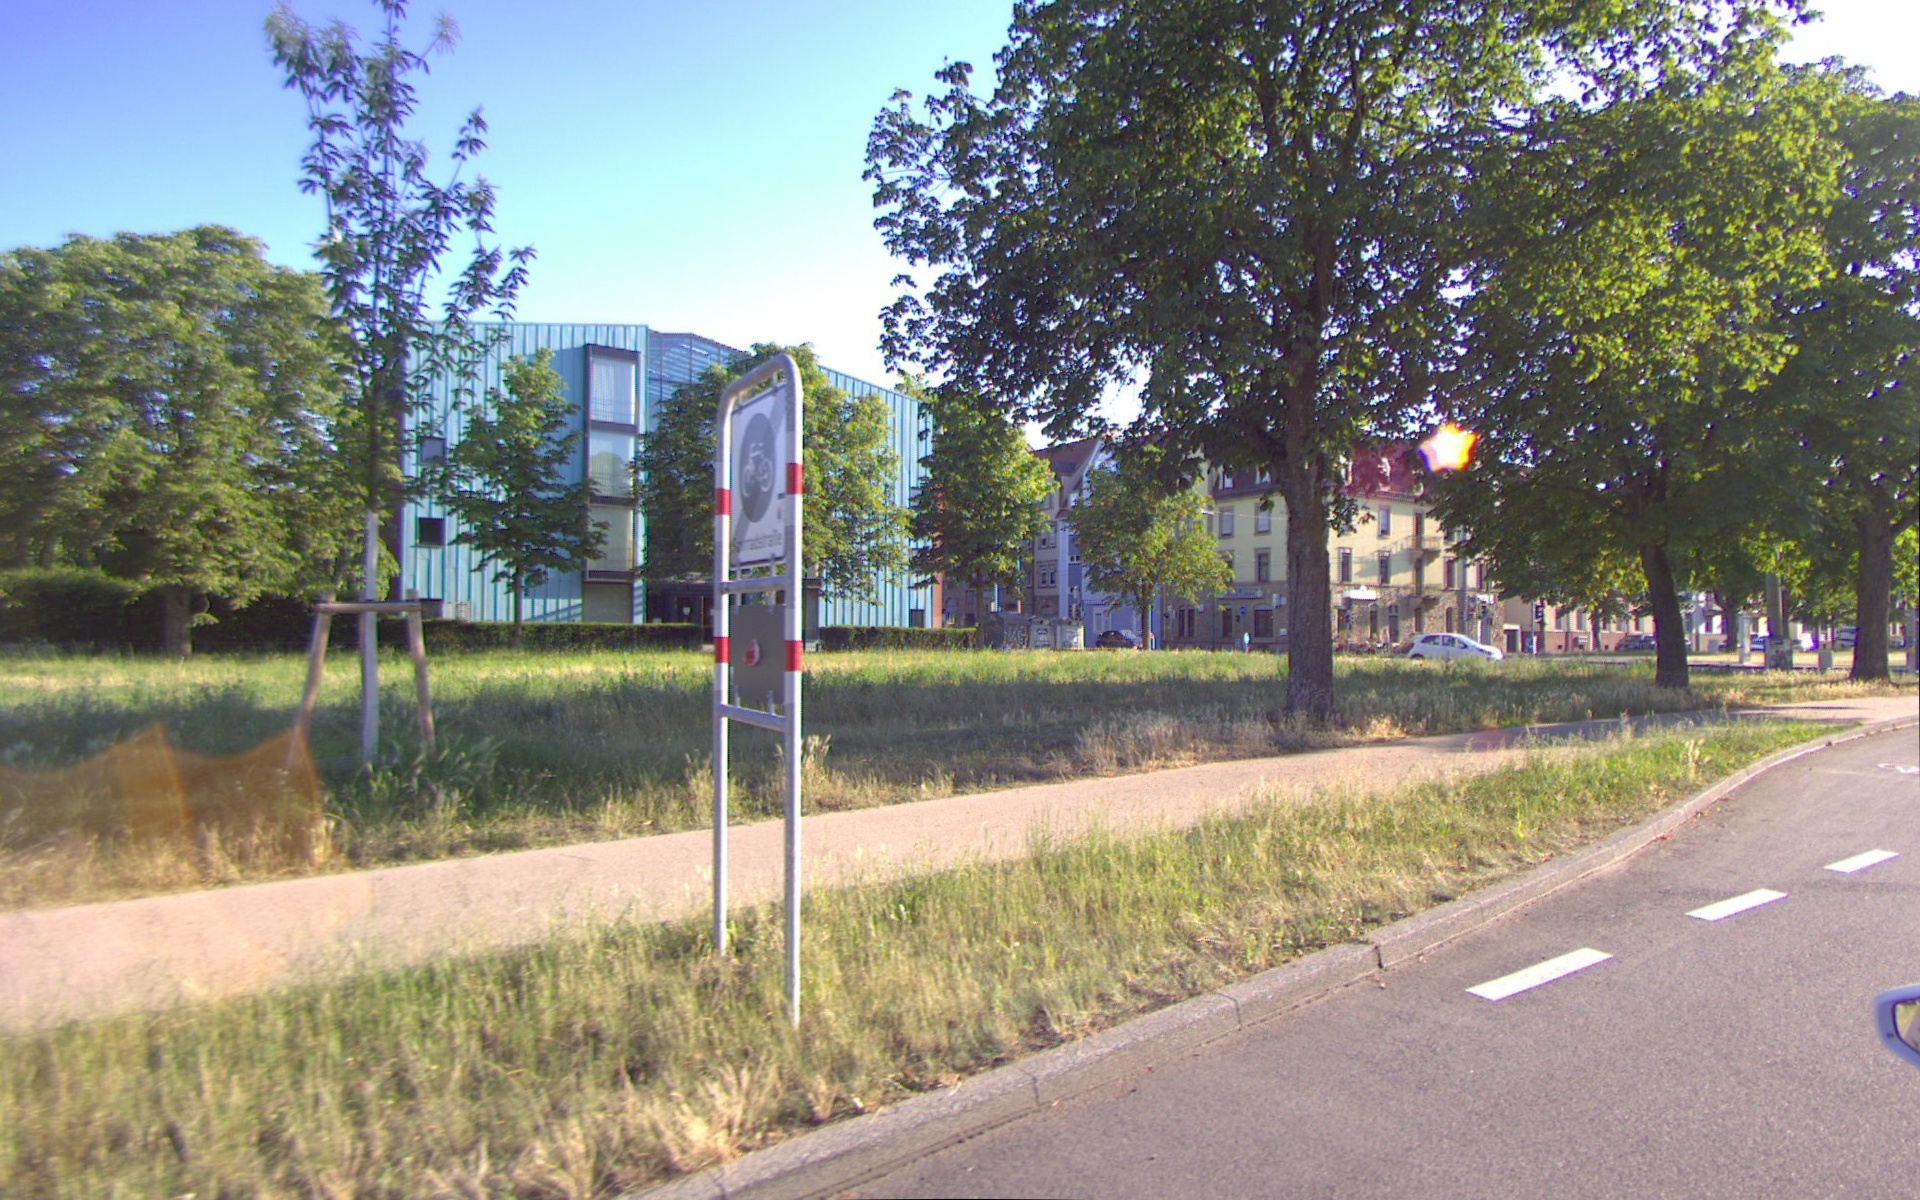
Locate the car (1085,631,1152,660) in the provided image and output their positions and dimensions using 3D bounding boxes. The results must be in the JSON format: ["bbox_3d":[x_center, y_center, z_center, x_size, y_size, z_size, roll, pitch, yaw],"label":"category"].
[{"bbox_3d":[8.964,2.529,56.981,1.601,1.517,3.560,1,-1,-44],"label":"car"}]

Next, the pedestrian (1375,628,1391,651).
[{"bbox_3d":[30.547,2.830,72.532,0.715,1.664,0.811,1,-1,-24],"label":"pedestrian"}]

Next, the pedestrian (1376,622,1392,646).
[{"bbox_3d":[30.148,2.429,71.418,0.809,1.664,0.717,1,-1,-41],"label":"pedestrian"}]

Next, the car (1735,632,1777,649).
[{"bbox_3d":[70.055,3.592,88.426,3.750,1.446,1.729,1,-1,-32],"label":"car"}]

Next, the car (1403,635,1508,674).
[{"bbox_3d":[21.061,2.285,42.774,1.729,1.508,3.651,2,-1,-43],"label":"car"}]

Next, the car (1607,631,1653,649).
[{"bbox_3d":[59.077,3.514,88.550,3.742,1.416,1.732,0,0,-26],"label":"car"}]

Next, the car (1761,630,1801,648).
[{"bbox_3d":[74.931,3.533,91.659,3.749,1.446,1.729,0,0,-32],"label":"car"}]

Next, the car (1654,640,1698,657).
[{"bbox_3d":[65.568,4.446,92.005,3.742,1.446,1.732,0,0,-26],"label":"car"}]
